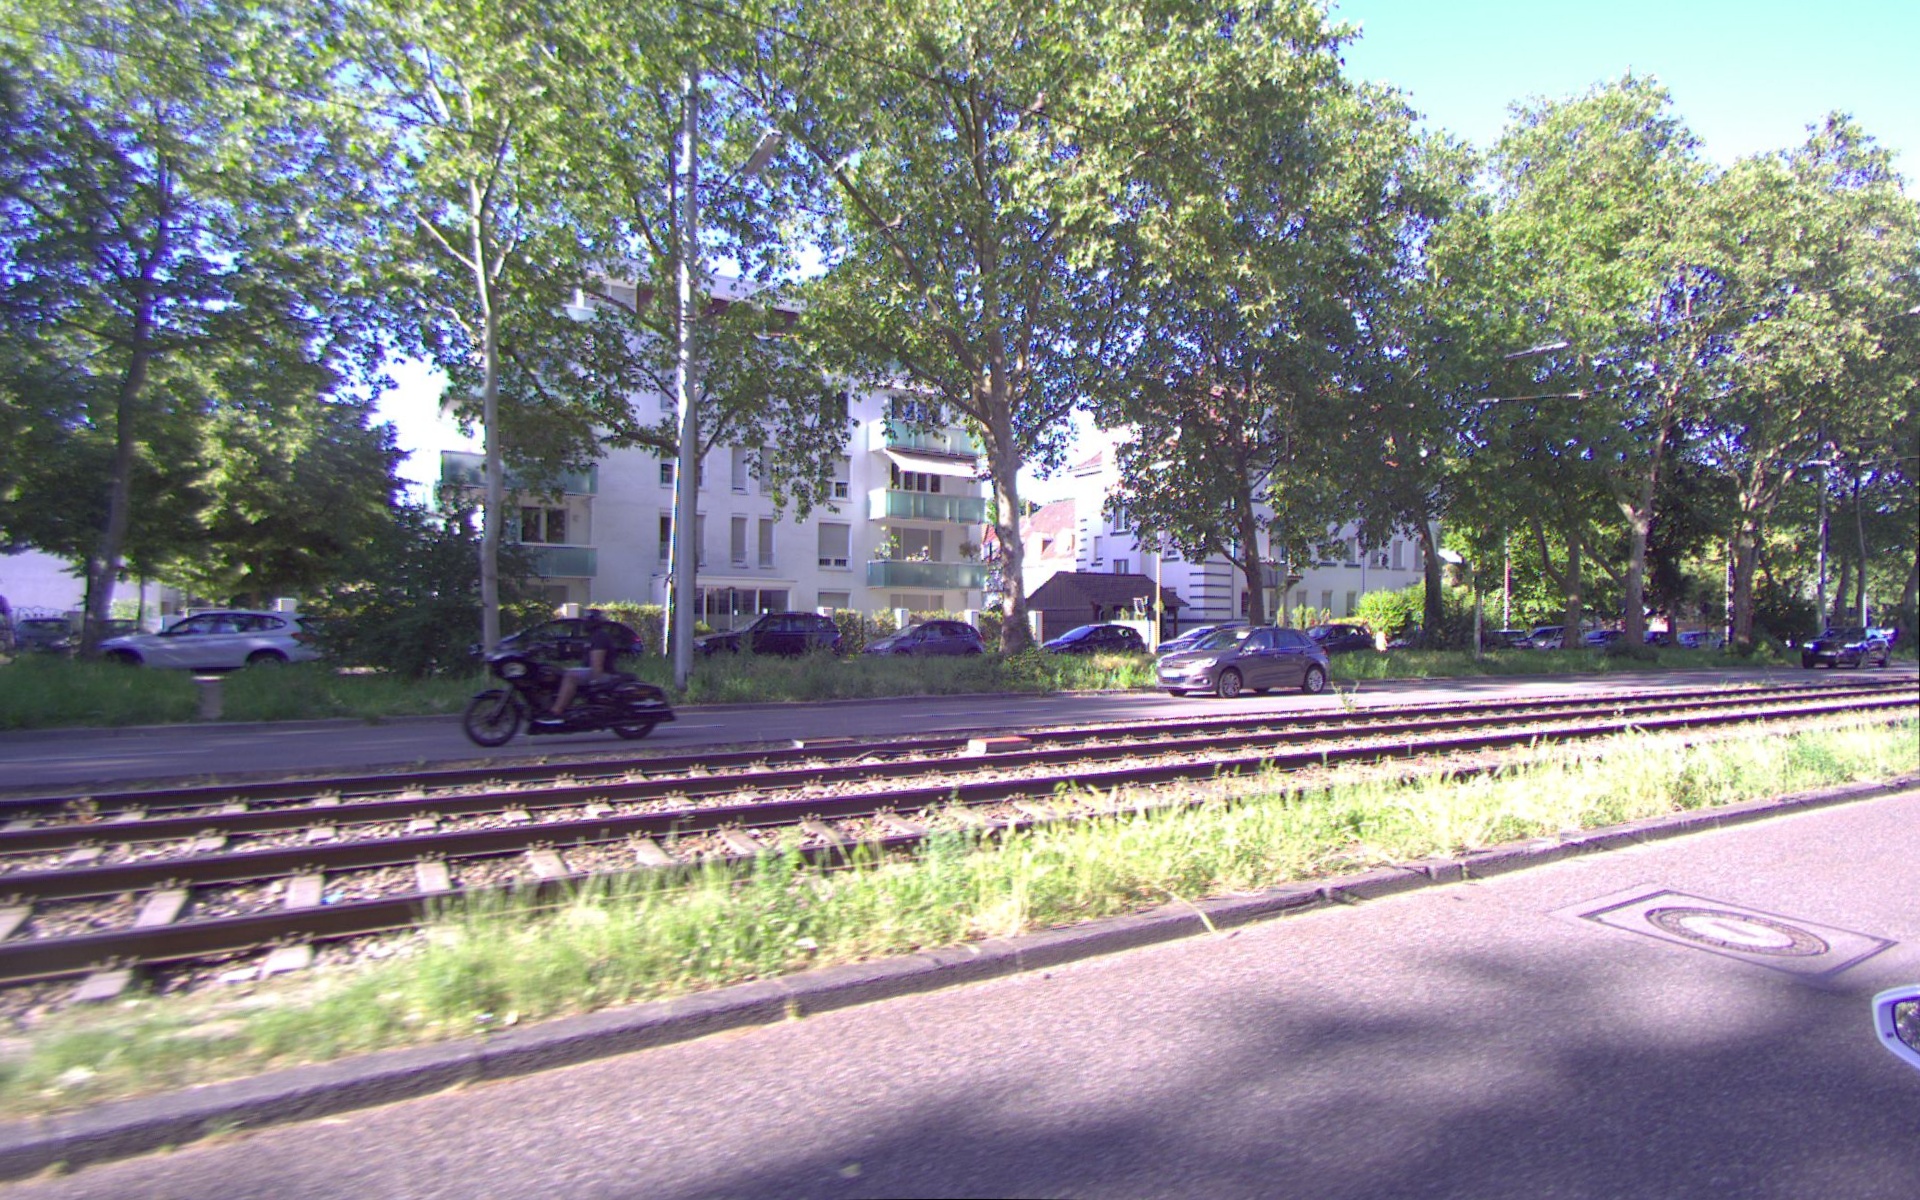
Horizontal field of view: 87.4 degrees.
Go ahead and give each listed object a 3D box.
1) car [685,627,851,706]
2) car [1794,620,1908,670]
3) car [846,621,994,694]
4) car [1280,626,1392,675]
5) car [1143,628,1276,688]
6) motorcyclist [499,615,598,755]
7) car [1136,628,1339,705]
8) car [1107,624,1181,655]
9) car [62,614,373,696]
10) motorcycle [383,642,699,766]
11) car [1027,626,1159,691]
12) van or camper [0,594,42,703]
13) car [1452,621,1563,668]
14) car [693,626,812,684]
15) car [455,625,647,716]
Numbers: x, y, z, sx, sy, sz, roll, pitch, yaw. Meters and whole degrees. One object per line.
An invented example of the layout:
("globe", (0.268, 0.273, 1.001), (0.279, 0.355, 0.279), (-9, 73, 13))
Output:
("car", (-5.275, 1.757, 27.693), (4.125, 2.040, 1.984), (1, -2, -31))
("car", (35.784, 1.790, 40.306), (4.815, 1.895, 1.985), (1, -3, -30))
("car", (-1.181, 1.673, 30.339), (4.046, 2.040, 1.984), (1, -1, -31))
("car", (15.140, 1.979, 40.393), (4.501, 1.860, 1.811), (1, -1, -31))
("car", (9.122, 2.069, 36.673), (4.626, 2.040, 1.985), (0, -1, -29))
("motorcyclist", (-4.811, 0.951, 11.720), (0.947, 1.533, 0.939), (0, -1, -30))
("car", (6.112, 1.423, 22.004), (4.287, 1.528, 1.787), (1, -4, -30))
("car", (9.621, 2.054, 52.796), (1.978, 1.528, 3.576), (1, -1, -32))
("car", (-15.796, 1.177, 21.774), (5.013, 1.619, 2.025), (1, -3, -22))
("motorcycle", (-4.824, 1.139, 11.726), (3.312, 1.228, 0.959), (1, -1, -31))
("car", (4.476, 1.902, 33.706), (4.052, 2.040, 1.985), (1, -1, -29))
("van or camper", (-20.553, 0.872, 18.360), (5.158, 2.040, 2.254), (1, -1, -32))
("car", (25.293, 2.017, 46.351), (5.207, 2.040, 2.142), (1, -1, -31))
("car", (-7.731, 1.998, 37.437), (3.953, 2.040, 1.984), (1, -1, -30))
("car", (-10.072, 1.653, 24.795), (4.115, 2.040, 1.982), (1, -1, -33))
